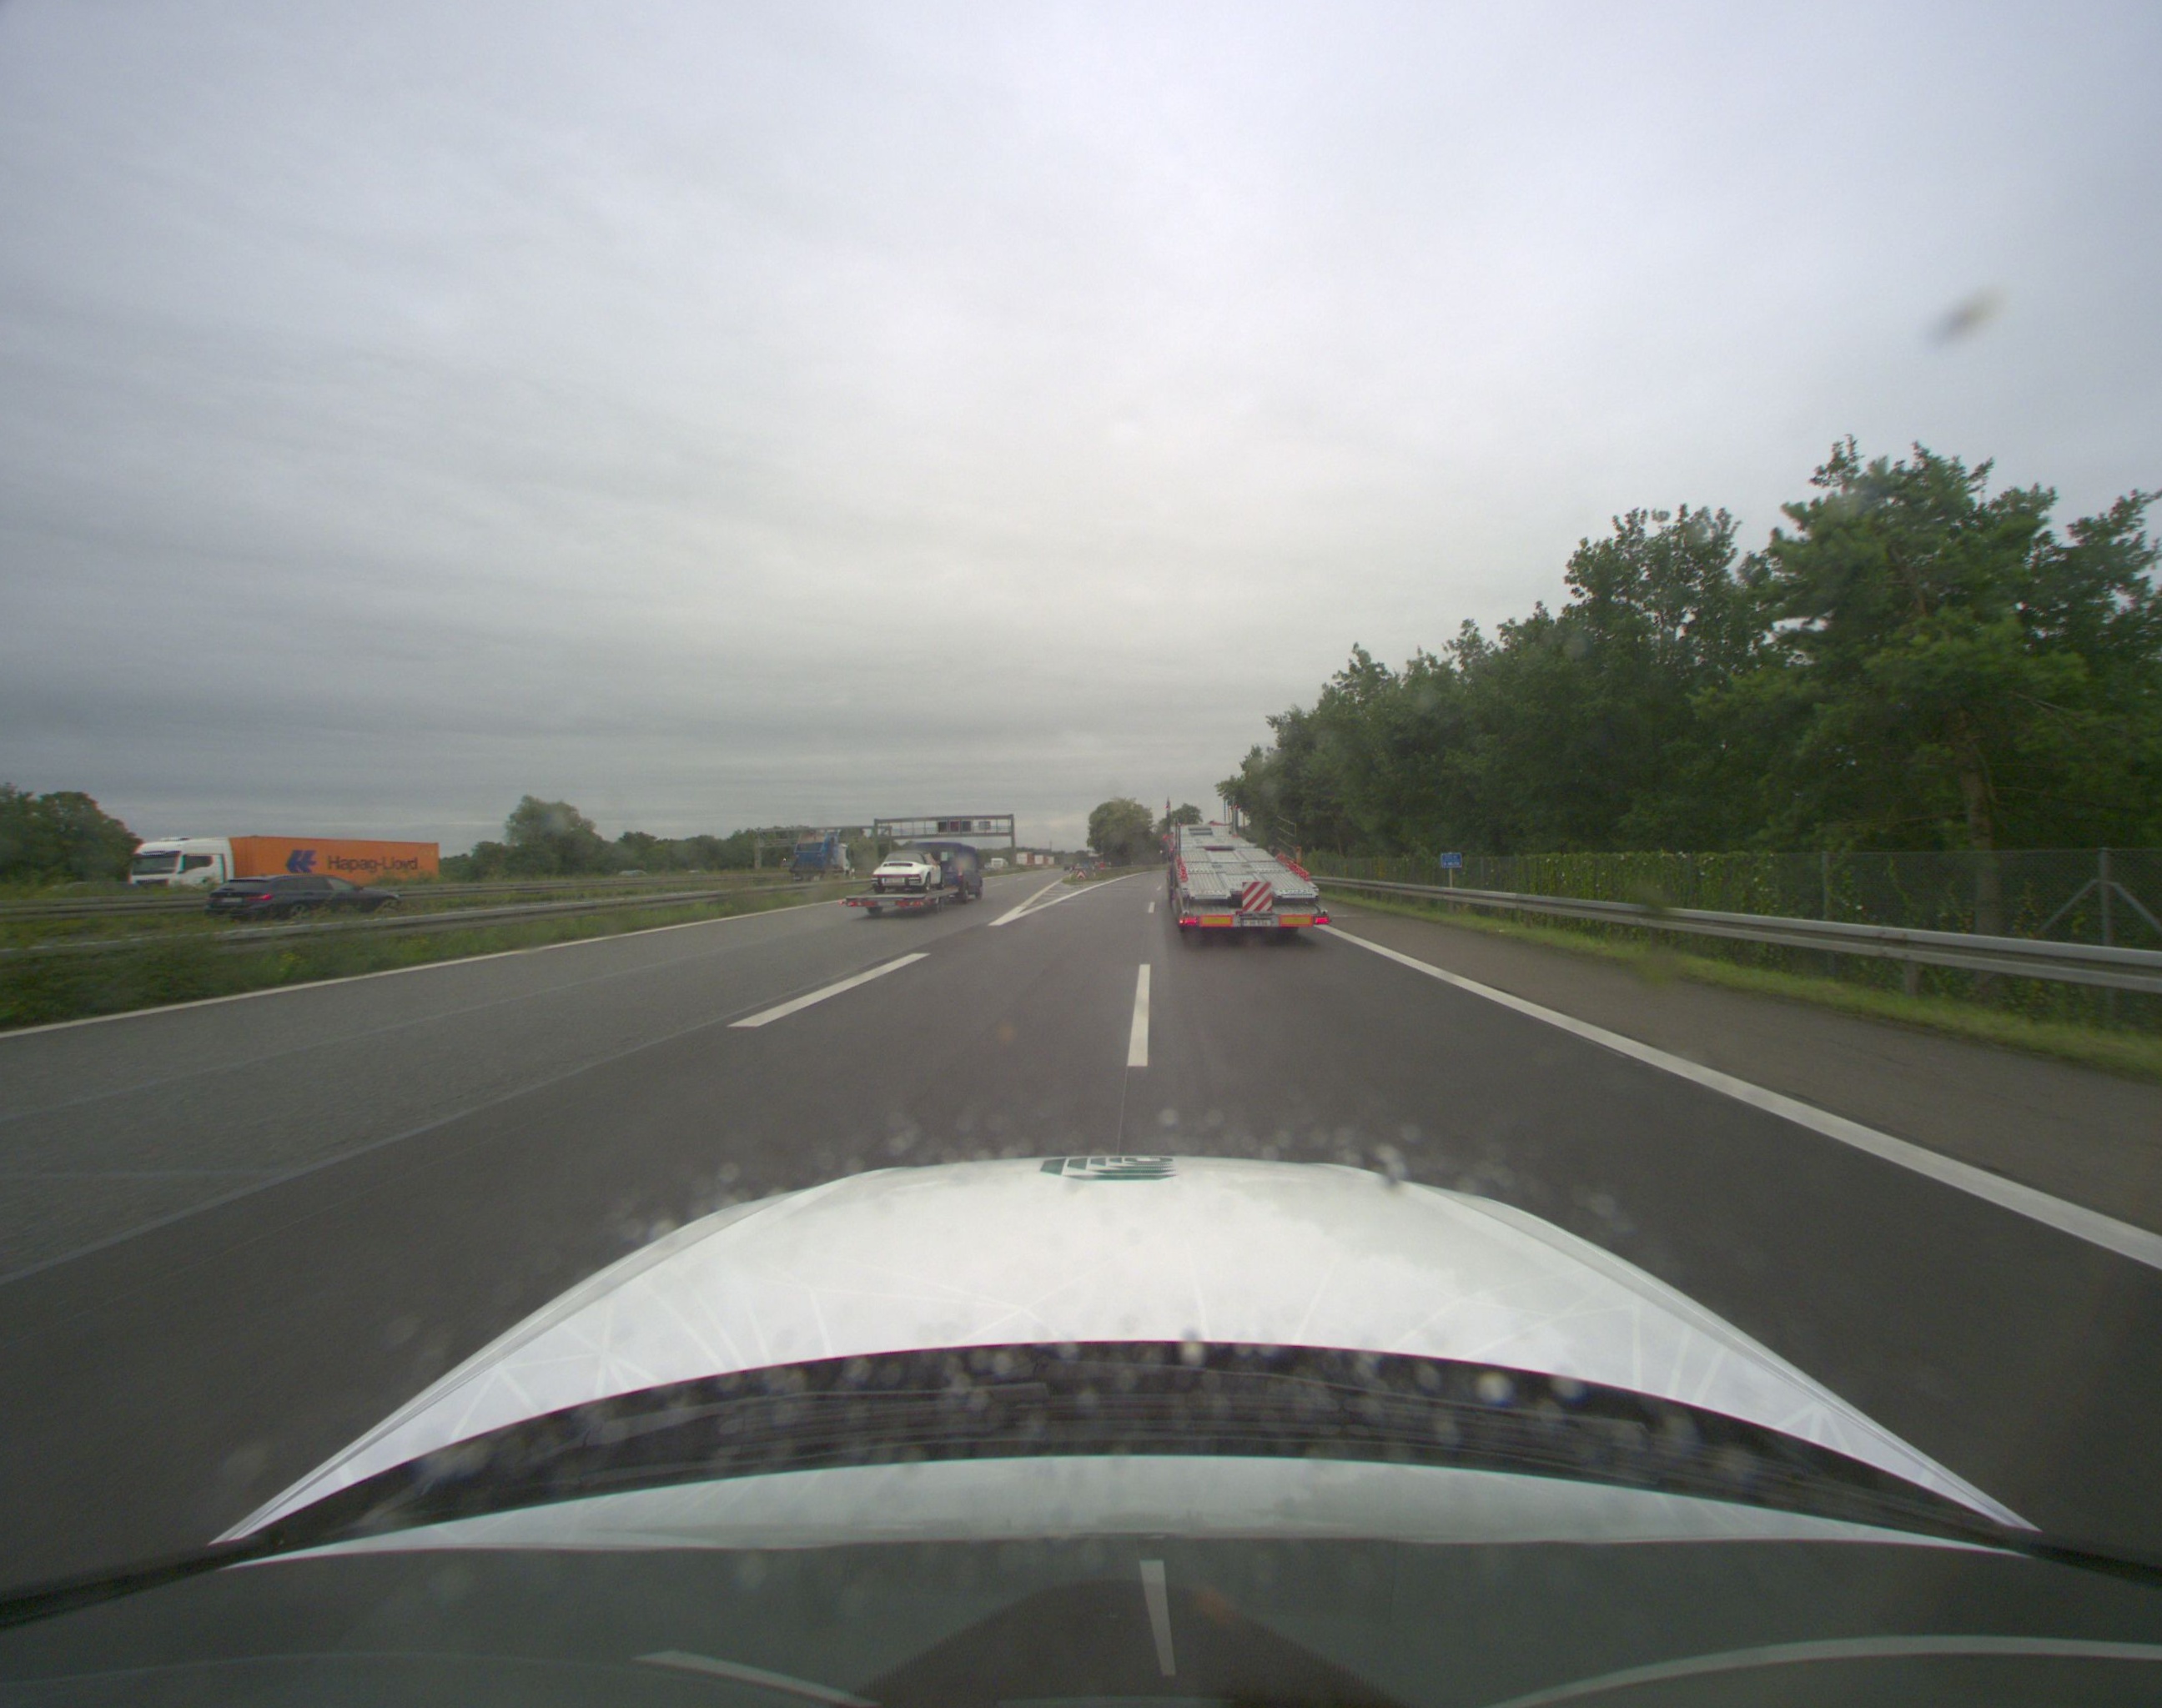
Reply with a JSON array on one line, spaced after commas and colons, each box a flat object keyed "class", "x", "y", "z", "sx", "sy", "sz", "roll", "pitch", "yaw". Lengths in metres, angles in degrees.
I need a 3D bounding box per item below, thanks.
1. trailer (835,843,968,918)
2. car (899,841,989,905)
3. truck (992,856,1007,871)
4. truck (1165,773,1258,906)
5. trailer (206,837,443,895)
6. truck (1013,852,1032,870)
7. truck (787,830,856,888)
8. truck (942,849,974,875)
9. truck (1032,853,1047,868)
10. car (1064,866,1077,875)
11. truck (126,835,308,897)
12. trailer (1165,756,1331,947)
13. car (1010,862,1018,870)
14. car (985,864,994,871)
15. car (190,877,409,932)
[{"class": "trailer", "x": -5.333, "y": 0.748, "z": 25.485, "sx": 2.476, "sy": 1.994, "sz": 7.063, "roll": 0, "pitch": -1, "yaw": 1}, {"class": "car", "x": -5.239, "y": 0.710, "z": 32.127, "sx": 2.364, "sy": 2.266, "sz": 6.257, "roll": 0, "pitch": -1, "yaw": 1}, {"class": "truck", "x": -15.386, "y": 1.746, "z": 153.429, "sx": 2.235, "sy": 2.704, "sz": 5.280, "roll": 0, "pitch": -1, "yaw": 1}, {"class": "truck", "x": 4.385, "y": -0.435, "z": 29.090, "sx": 2.725, "sy": 3.968, "sz": 9.143, "roll": 1, "pitch": 0, "yaw": 6}, {"class": "trailer", "x": -45.683, "y": 0.763, "z": 50.154, "sx": 2.676, "sy": 3.074, "sz": 12.567, "roll": 0, "pitch": -1, "yaw": 1}, {"class": "truck", "x": -14.089, "y": 1.664, "z": 197.935, "sx": 3.720, "sy": 4.417, "sz": 10.197, "roll": 0, "pitch": 0, "yaw": 1}, {"class": "truck", "x": -18.309, "y": 0.406, "z": 57.908, "sx": 2.630, "sy": 3.812, "sz": 7.340, "roll": 0, "pitch": -1, "yaw": -1}, {"class": "truck", "x": -16.815, "y": 1.089, "z": 112.046, "sx": 2.846, "sy": 3.365, "sz": 8.632, "roll": -1, "pitch": -1, "yaw": 1}, {"class": "truck", "x": -12.390, "y": 2.028, "z": 245.888, "sx": 3.720, "sy": 4.417, "sz": 11.899, "roll": 0, "pitch": 0, "yaw": 1}, {"class": "car", "x": -1.803, "y": 2.806, "z": 138.732, "sx": 1.954, "sy": 1.637, "sz": 5.626, "roll": 0, "pitch": -1, "yaw": 1}, {"class": "truck", "x": -45.759, "y": 0.643, "z": 43.465, "sx": 2.676, "sy": 3.074, "sz": 6.455, "roll": 0, "pitch": -1, "yaw": 1}, {"class": "trailer", "x": 3.416, "y": -0.010, "z": 19.289, "sx": 2.764, "sy": 3.285, "sz": 10.422, "roll": 0, "pitch": 0, "yaw": 6}, {"class": "car", "x": -17.909, "y": 3.164, "z": 218.797, "sx": 1.723, "sy": 2.014, "sz": 4.000, "roll": 0, "pitch": -1, "yaw": 1}, {"class": "car", "x": -19.130, "y": 2.771, "z": 170.391, "sx": 1.678, "sy": 1.530, "sz": 3.998, "roll": 0, "pitch": -1, "yaw": -1}, {"class": "car", "x": -22.663, "y": 1.403, "z": 23.956, "sx": 1.798, "sy": 1.391, "sz": 4.773, "roll": 0, "pitch": -1, "yaw": 0}]
